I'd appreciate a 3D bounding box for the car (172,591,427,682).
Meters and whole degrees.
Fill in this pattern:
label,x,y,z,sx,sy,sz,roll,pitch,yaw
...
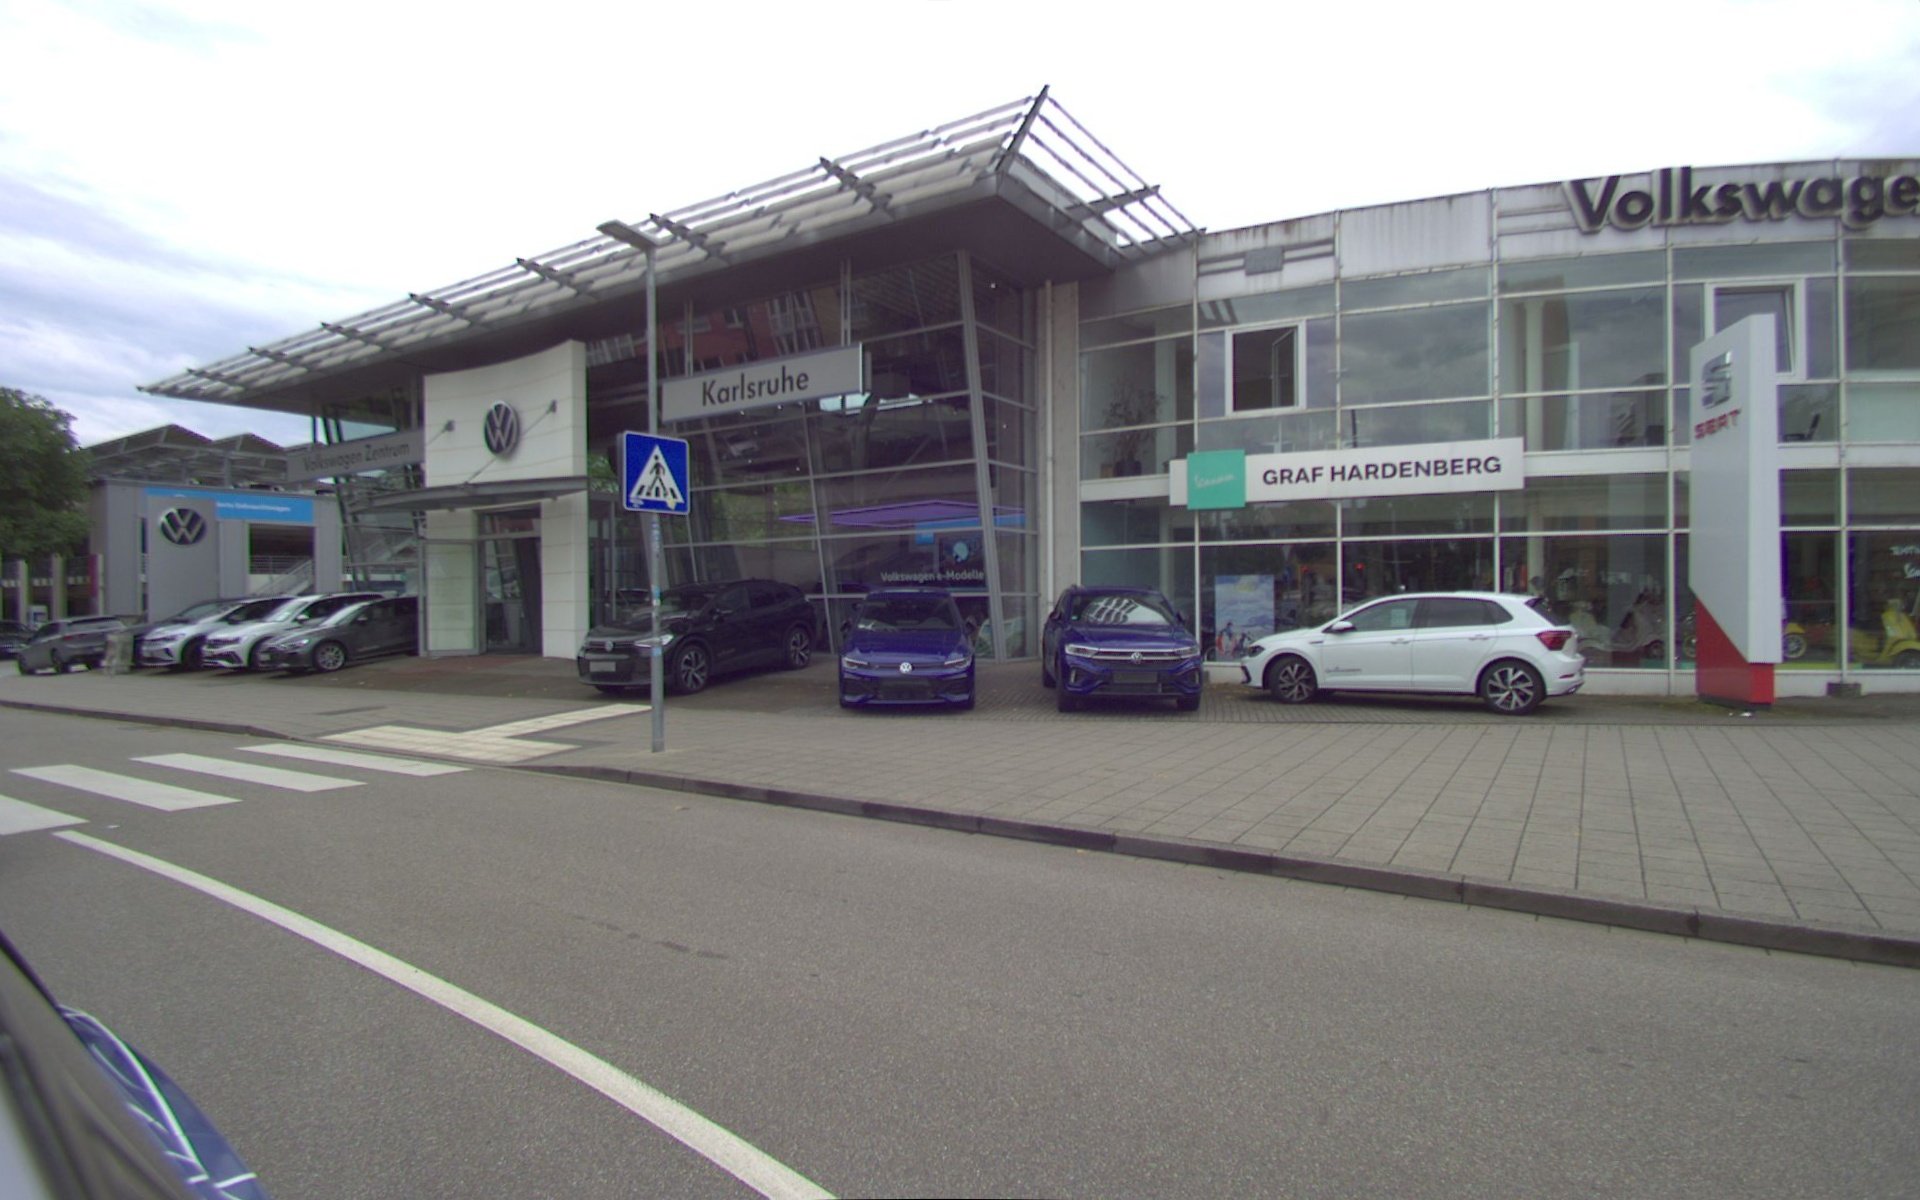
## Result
label,x,y,z,sx,sy,sz,roll,pitch,yaw
car,-15.664,0.793,24.285,1.855,1.712,4.724,-2,2,32

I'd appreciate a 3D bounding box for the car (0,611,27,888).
label,x,y,z,sx,sy,sz,roll,pitch,yaw
car,-7.279,0.861,5.830,4.083,1.478,1.736,-1,1,32

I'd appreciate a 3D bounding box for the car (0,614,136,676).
label,x,y,z,sx,sy,sz,roll,pitch,yaw
car,-25.265,1.254,28.493,3.999,1.575,1.900,-2,0,31

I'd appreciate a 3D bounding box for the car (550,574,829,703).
label,x,y,z,sx,sy,sz,roll,pitch,yaw
car,-4.185,0.520,16.500,1.851,1.644,4.470,-2,2,26

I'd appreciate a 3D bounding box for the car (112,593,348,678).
label,x,y,z,sx,sy,sz,roll,pitch,yaw
car,-18.364,0.842,25.687,1.864,1.712,4.427,-2,3,33

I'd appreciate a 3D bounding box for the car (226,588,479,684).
label,x,y,z,sx,sy,sz,roll,pitch,yaw
car,-13.452,0.723,22.696,1.891,1.709,4.429,-2,2,32

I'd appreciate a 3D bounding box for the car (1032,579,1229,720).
label,x,y,z,sx,sy,sz,roll,pitch,yaw
car,2.088,0.559,13.619,1.875,1.574,4.221,-1,0,-1

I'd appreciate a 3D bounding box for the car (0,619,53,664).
label,x,y,z,sx,sy,sz,roll,pitch,yaw
car,-36.396,1.541,38.265,4.458,1.559,1.879,-1,1,31

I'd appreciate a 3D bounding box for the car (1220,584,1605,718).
label,x,y,z,sx,sy,sz,roll,pitch,yaw
car,5.714,0.597,13.003,4.254,1.463,1.762,-1,-1,36

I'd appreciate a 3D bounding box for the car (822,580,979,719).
label,x,y,z,sx,sy,sz,roll,pitch,yaw
car,-0.795,0.544,14.143,1.831,1.515,4.342,-1,2,-2
